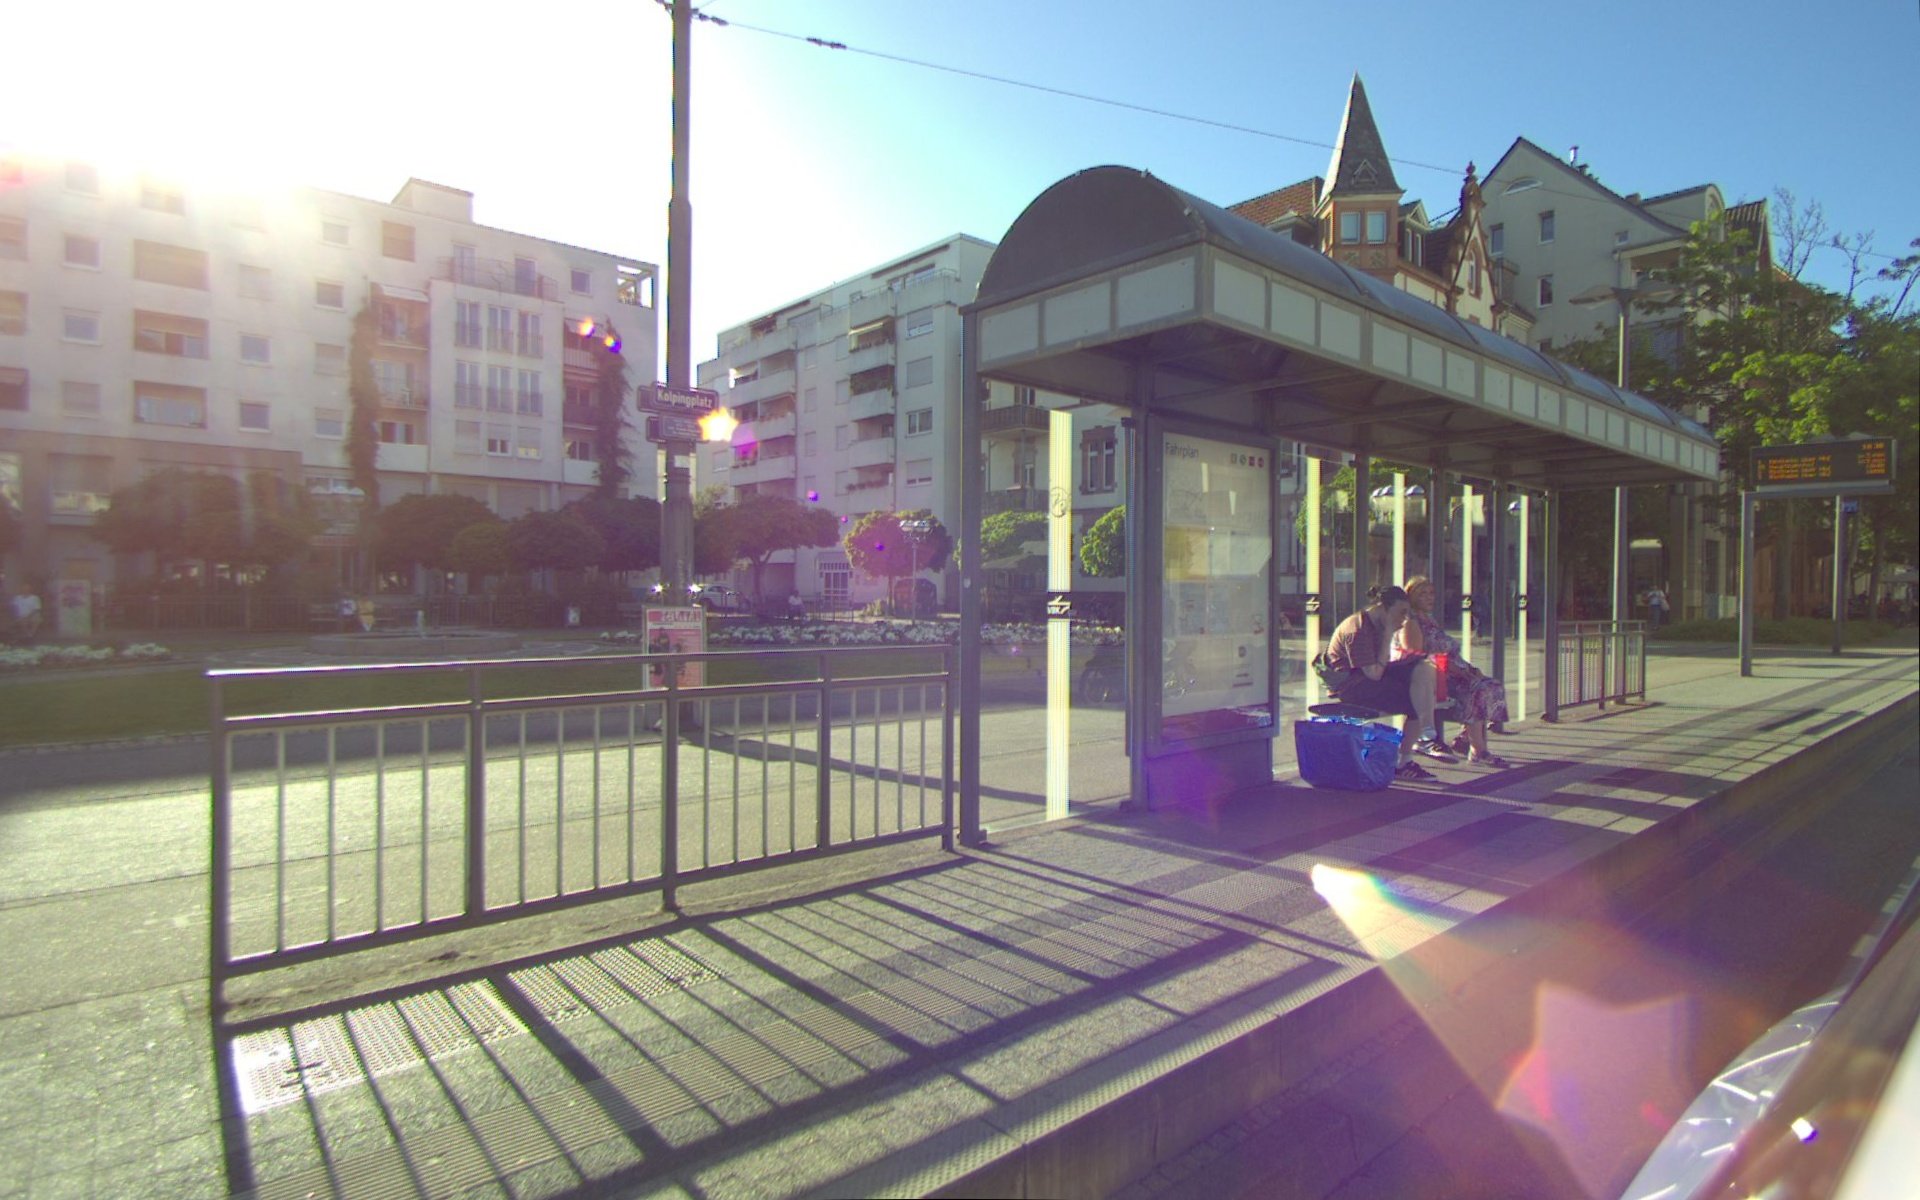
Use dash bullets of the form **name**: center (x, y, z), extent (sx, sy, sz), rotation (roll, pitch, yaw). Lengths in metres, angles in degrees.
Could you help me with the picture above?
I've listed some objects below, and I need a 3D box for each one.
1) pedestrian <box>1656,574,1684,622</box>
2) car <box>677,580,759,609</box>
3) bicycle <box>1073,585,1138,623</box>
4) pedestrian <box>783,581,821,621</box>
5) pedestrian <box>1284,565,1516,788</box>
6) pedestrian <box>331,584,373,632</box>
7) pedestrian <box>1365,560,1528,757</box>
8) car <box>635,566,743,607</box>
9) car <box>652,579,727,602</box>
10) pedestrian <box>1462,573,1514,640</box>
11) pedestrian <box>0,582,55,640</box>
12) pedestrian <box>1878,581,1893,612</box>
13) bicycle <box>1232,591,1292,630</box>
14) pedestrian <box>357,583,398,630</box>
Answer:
- **pedestrian**: center (26.024, -0.083, 37.099), extent (0.740, 1.757, 0.864), rotation (1, 1, 43)
- **car**: center (-13.202, -0.309, 55.355), extent (3.923, 1.536, 2.001), rotation (0, 1, -34)
- **bicycle**: center (5.568, 0.130, 38.508), extent (2.864, 1.389, 0.745), rotation (0, 1, -41)
- **pedestrian**: center (-5.796, 0.036, 37.106), extent (0.917, 1.429, 1.529), rotation (0, 1, -30)
- **pedestrian**: center (2.742, 0.437, 6.333), extent (0.907, 1.241, 1.000), rotation (-1, -2, -40)
- **pedestrian**: center (-16.626, 0.211, 27.670), extent (0.738, 1.287, 0.725), rotation (1, 1, 29)
- **pedestrian**: center (3.585, 0.411, 7.479), extent (0.612, 1.351, 0.860), rotation (-1, -2, -40)
- **car**: center (-17.772, -0.888, 66.604), extent (2.807, 2.587, 6.294), rotation (1, 1, 45)
- **car**: center (-16.018, -0.567, 59.977), extent (3.923, 1.304, 2.001), rotation (0, 1, -34)
- **pedestrian**: center (13.811, 0.149, 26.467), extent (1.064, 1.689, 0.944), rotation (1, 1, 37)
- **pedestrian**: center (-21.539, 0.244, 23.328), extent (1.032, 1.287, 0.725), rotation (1, 1, 29)
- **pedestrian**: center (60.505, -0.216, 66.144), extent (0.549, 2.039, 0.654), rotation (0, 0, -38)
- **bicycle**: center (9.529, 0.303, 31.824), extent (0.786, 1.081, 2.767), rotation (1, 3, 40)
- **pedestrian**: center (-16.281, 0.172, 28.307), extent (0.738, 1.287, 0.725), rotation (1, 1, 29)
